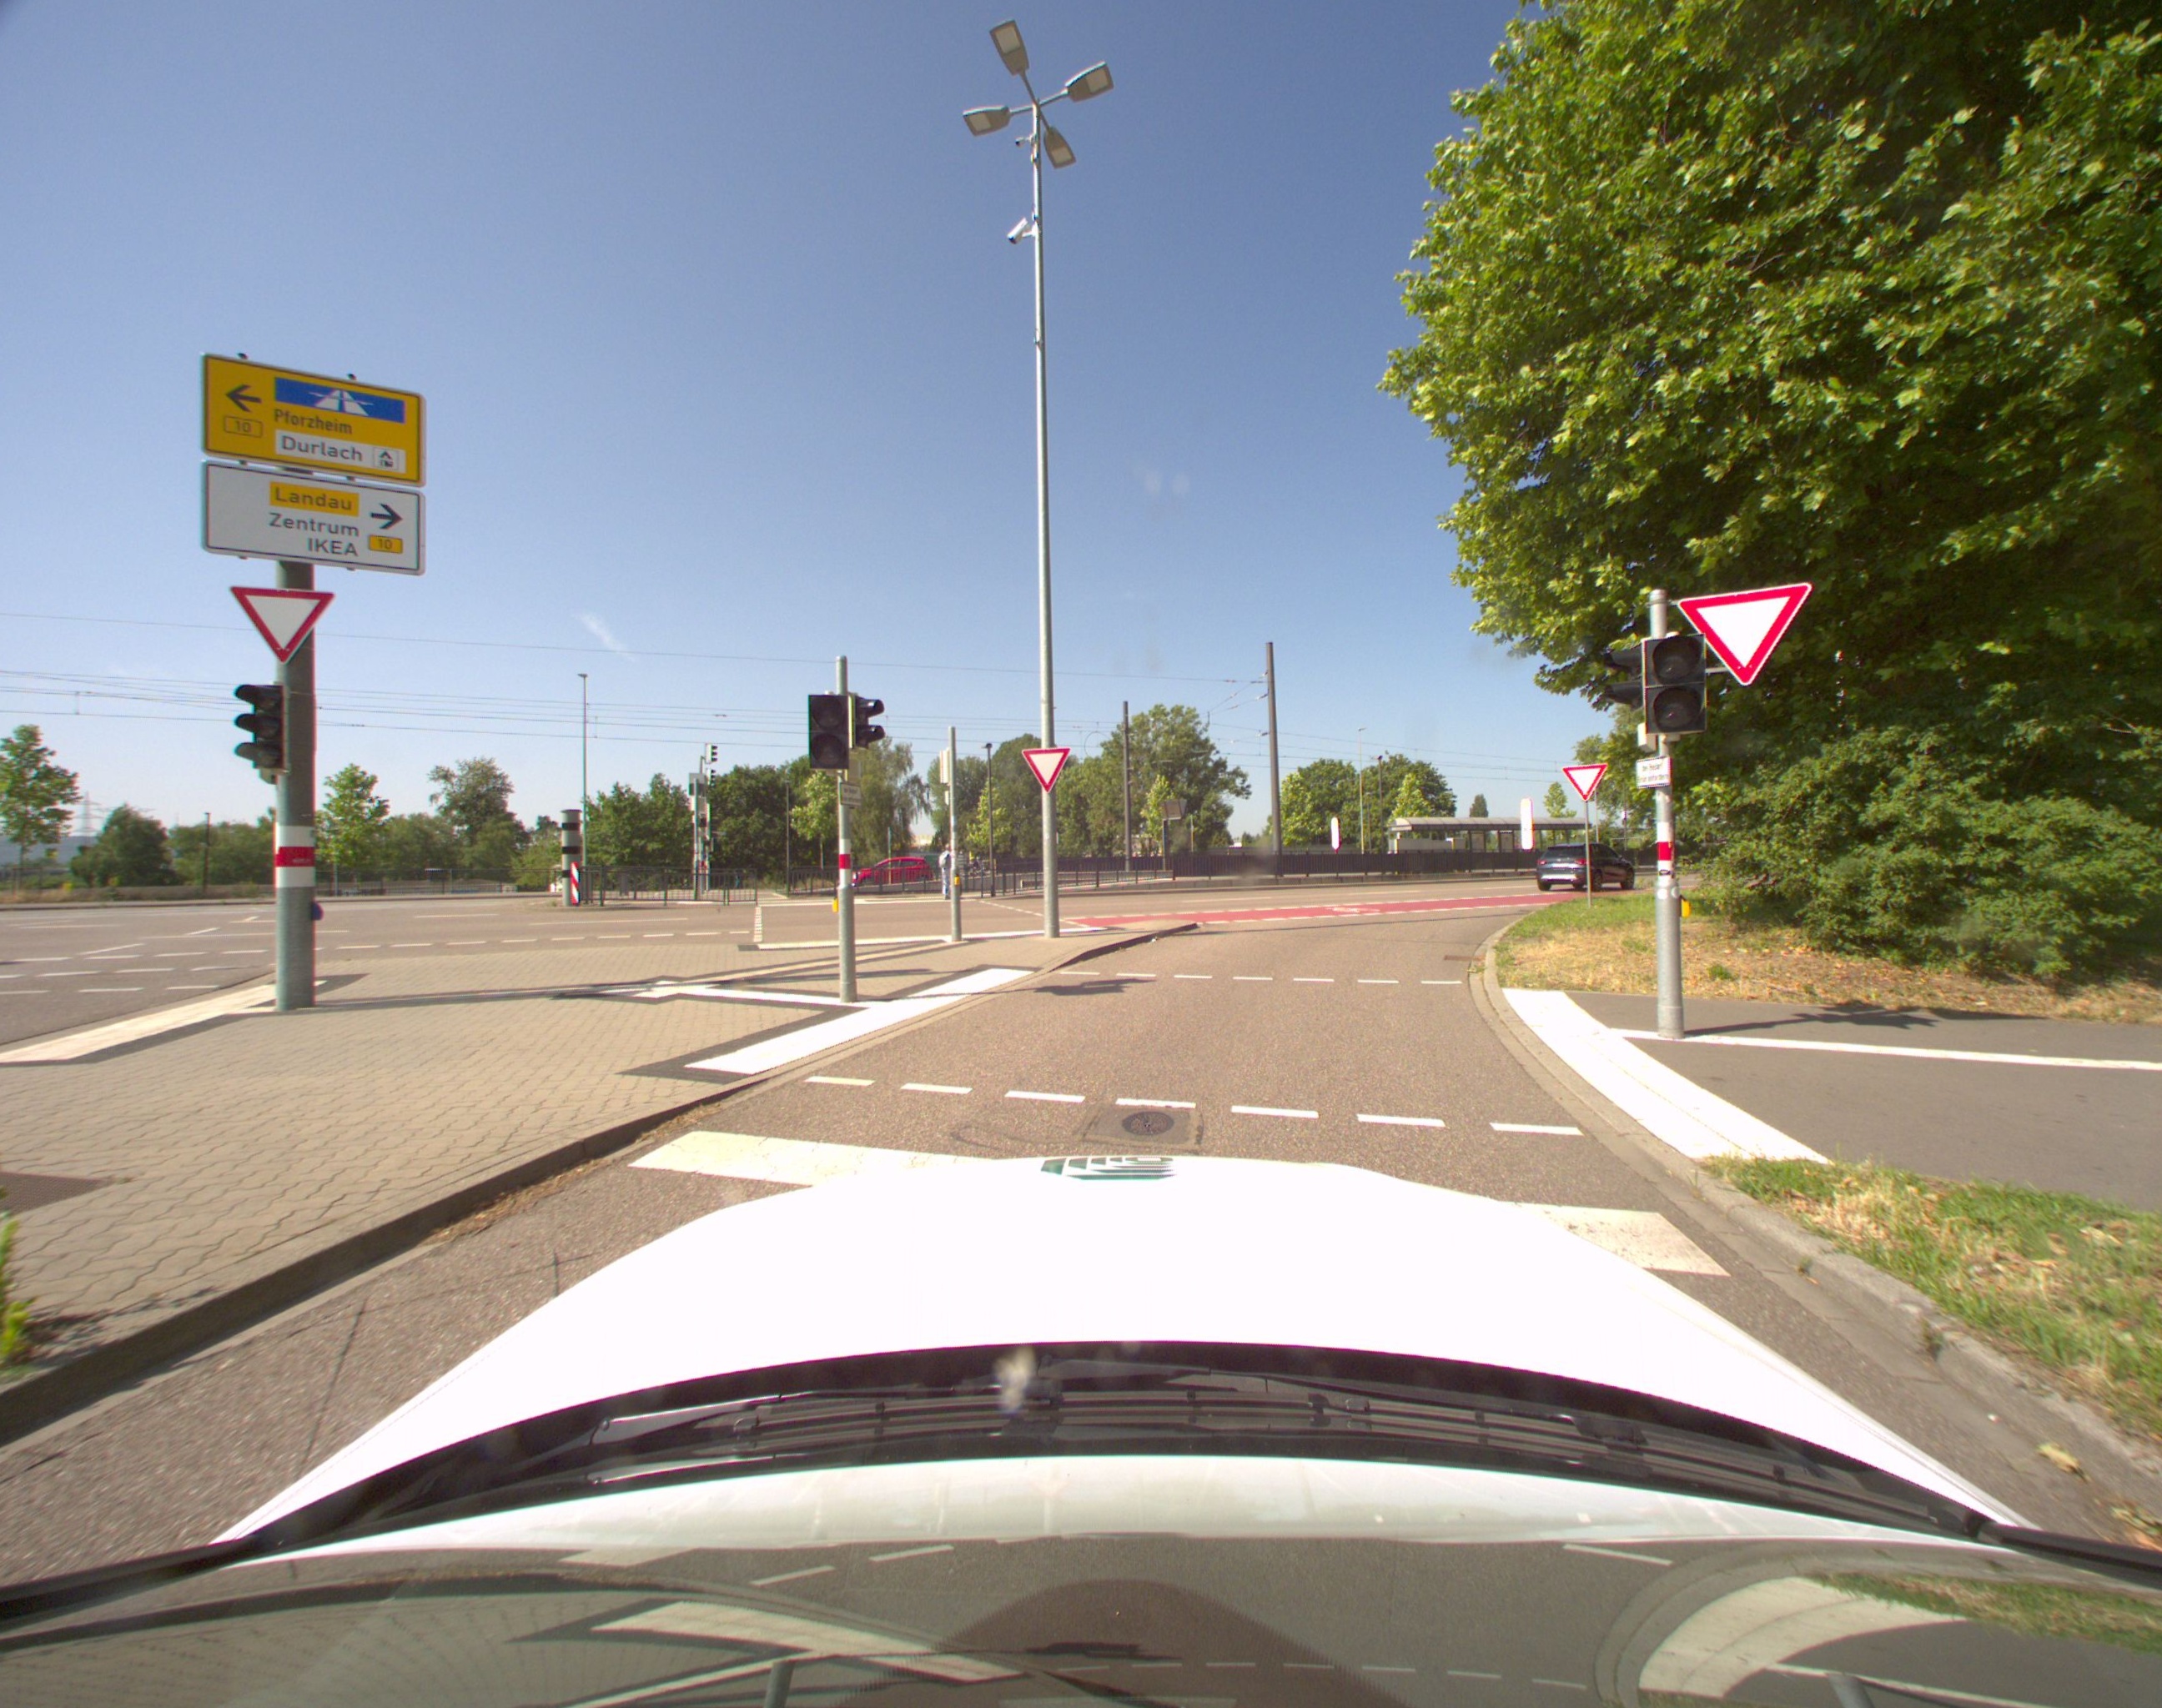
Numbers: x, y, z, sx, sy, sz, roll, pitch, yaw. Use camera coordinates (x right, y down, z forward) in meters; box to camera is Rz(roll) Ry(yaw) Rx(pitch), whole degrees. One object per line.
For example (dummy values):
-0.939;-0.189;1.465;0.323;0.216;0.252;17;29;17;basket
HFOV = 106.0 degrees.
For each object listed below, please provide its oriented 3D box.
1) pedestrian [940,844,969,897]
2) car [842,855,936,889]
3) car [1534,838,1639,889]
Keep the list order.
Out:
-3.746;0.473;24.071;0.773;1.510;1.003;-1;1;-12;pedestrian
-8.961;0.795;38.114;4.007;1.445;1.732;-1;0;-26;car
16.135;0.290;25.954;3.391;1.523;1.657;0;-1;-36;car
